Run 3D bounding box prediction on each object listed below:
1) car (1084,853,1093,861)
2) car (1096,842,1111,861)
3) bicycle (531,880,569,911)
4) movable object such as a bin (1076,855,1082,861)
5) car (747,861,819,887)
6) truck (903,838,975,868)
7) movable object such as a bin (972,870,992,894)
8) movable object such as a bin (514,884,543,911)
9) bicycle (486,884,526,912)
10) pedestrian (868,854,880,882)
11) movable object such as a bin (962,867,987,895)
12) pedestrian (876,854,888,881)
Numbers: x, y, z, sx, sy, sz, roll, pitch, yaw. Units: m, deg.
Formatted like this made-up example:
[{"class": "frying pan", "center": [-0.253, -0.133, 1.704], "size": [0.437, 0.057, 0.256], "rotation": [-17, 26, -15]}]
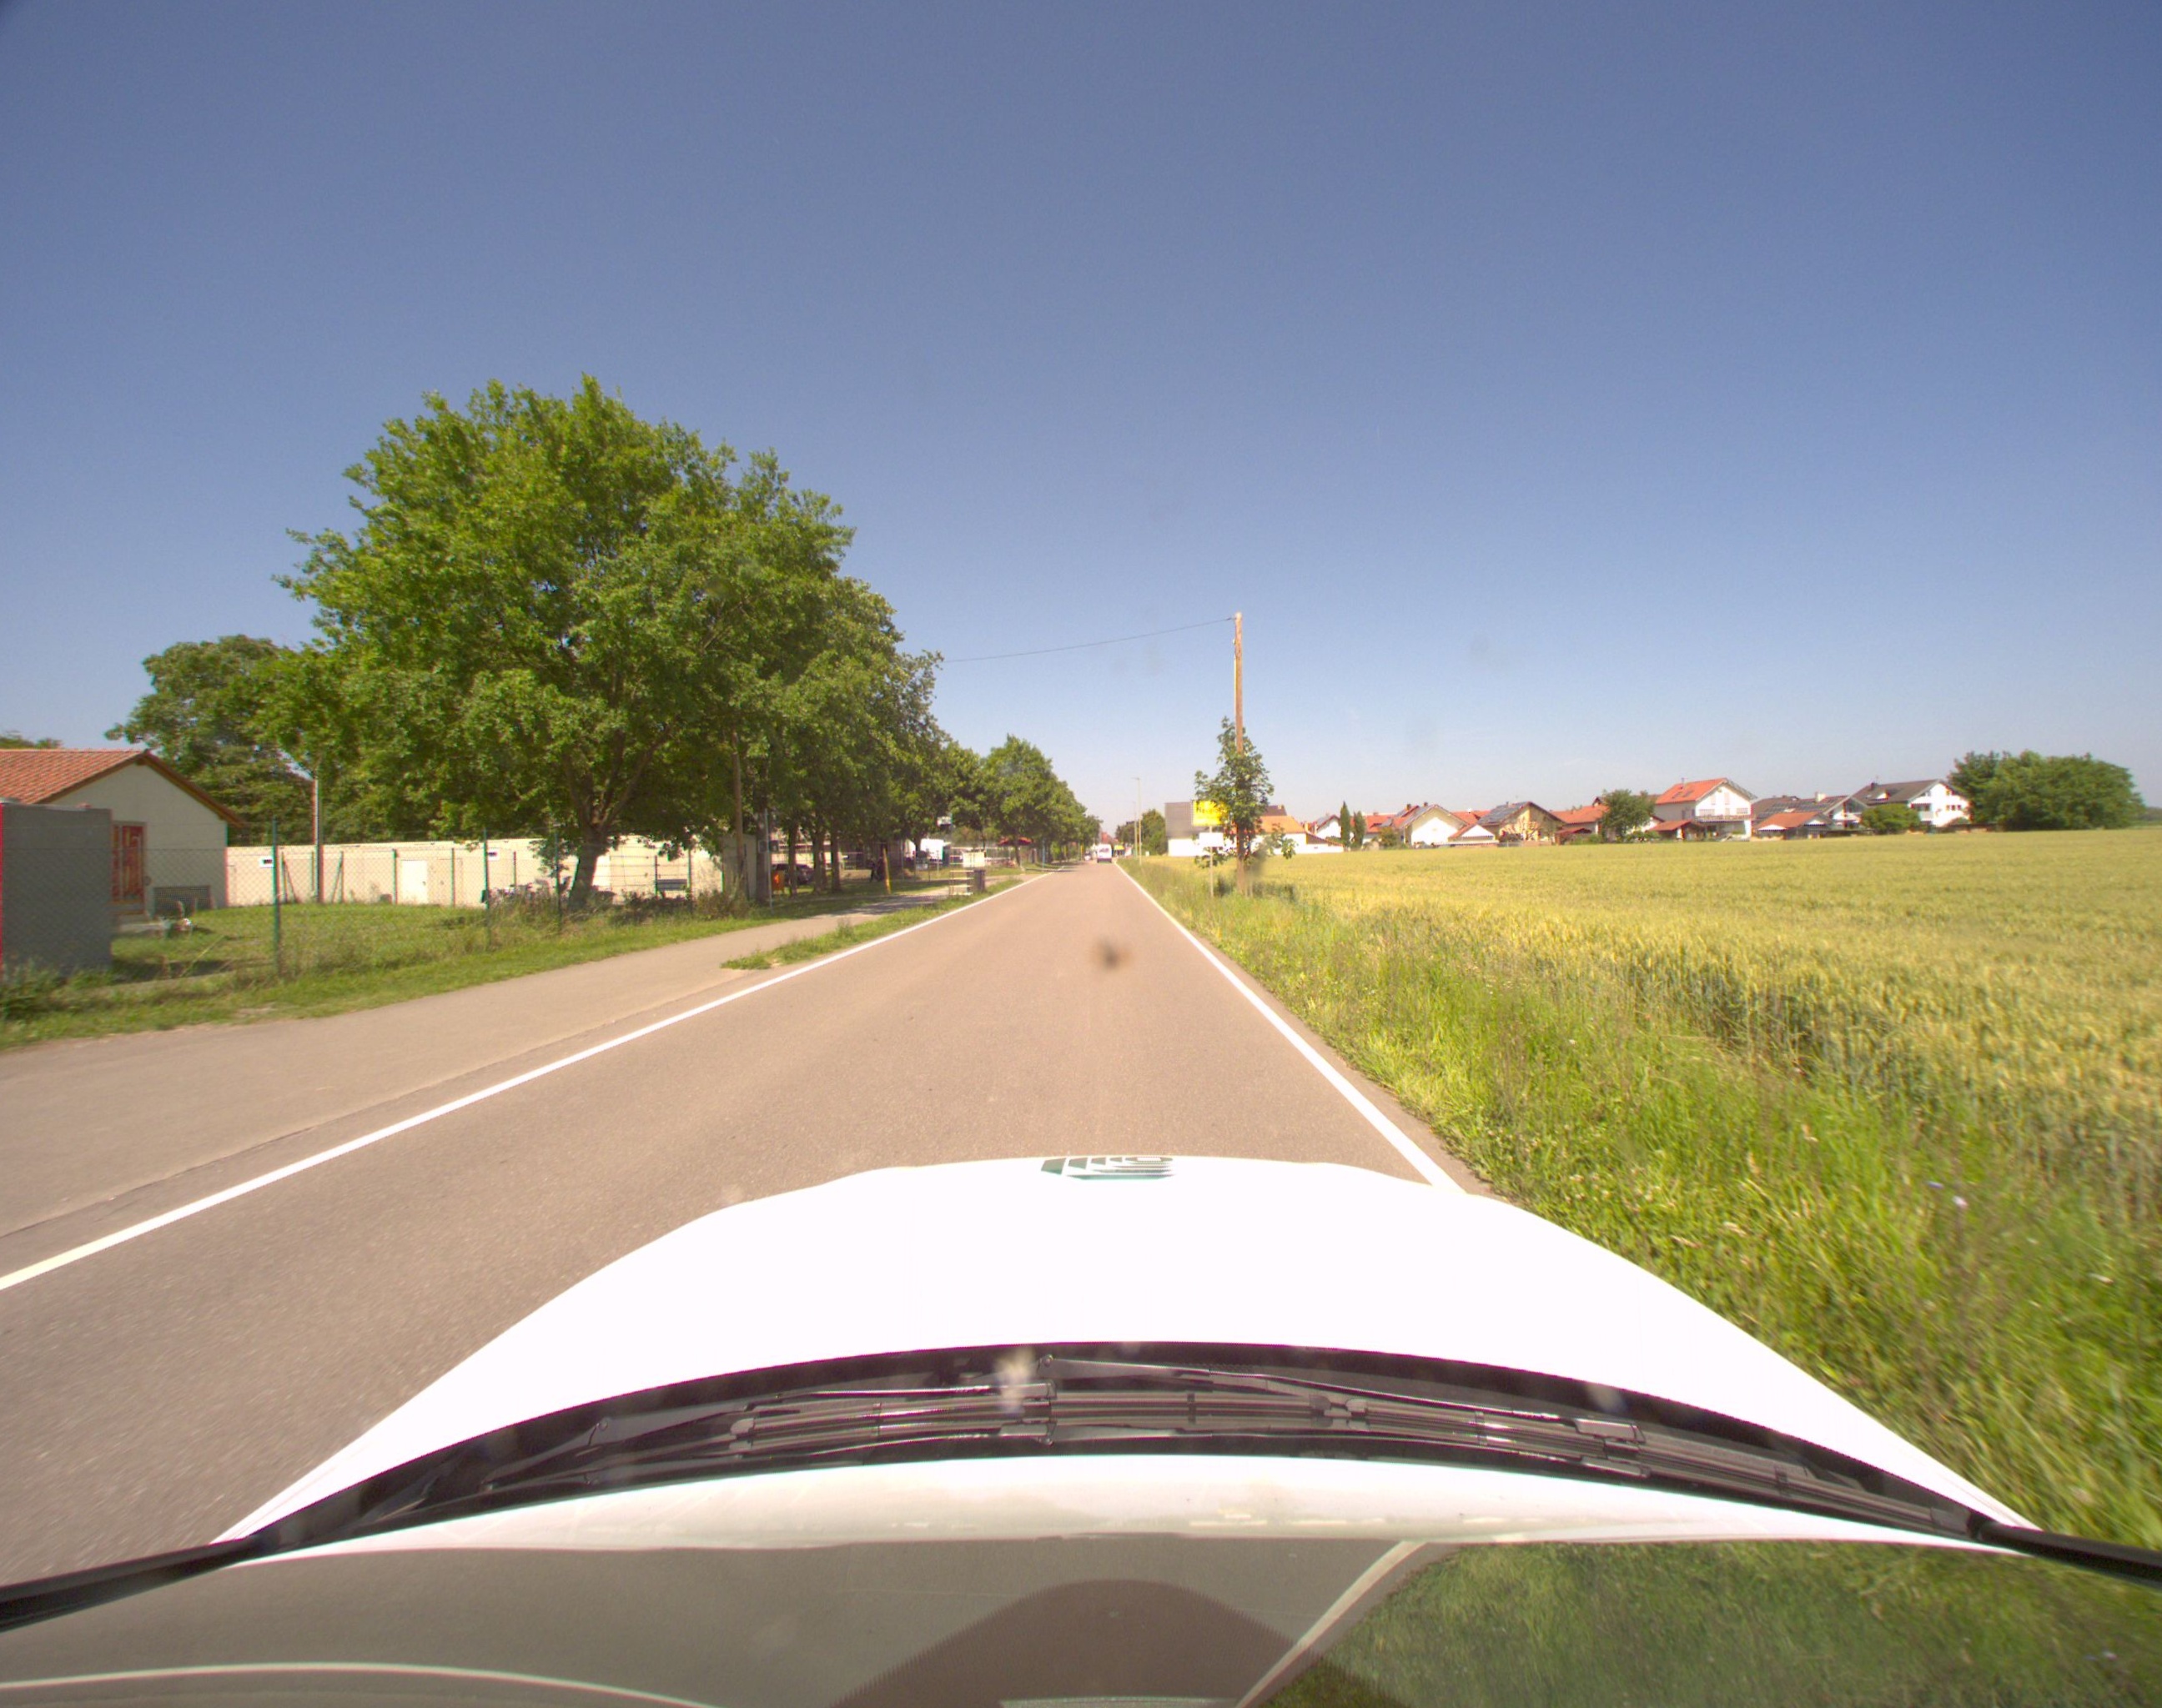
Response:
[{"class": "car", "center": [1.434, 0.495, 156.888], "size": [1.641, 1.423, 4.082], "rotation": [-4, 0, 2]}, {"class": "car", "center": [3.077, -0.301, 111.588], "size": [1.729, 2.432, 4.380], "rotation": [-2, 0, 5]}, {"class": "bicycle", "center": [-21.945, 1.694, 33.674], "size": [1.236, 1.213, 0.423], "rotation": [-2, 0, -2]}, {"class": "movable object such as a bin", "center": [-0.385, 0.813, 151.383], "size": [0.706, 1.079, 0.643], "rotation": [-2, -1, 29]}, {"class": "car", "center": [-18.349, 1.234, 50.274], "size": [3.795, 1.399, 1.755], "rotation": [-2, 0, -6]}, {"class": "truck", "center": [-12.547, -0.105, 72.076], "size": [5.957, 2.483, 1.978], "rotation": [-1, -1, -36]}, {"class": "movable object such as a bin", "center": [-3.816, 1.078, 31.455], "size": [0.559, 0.877, 0.615], "rotation": [-2, 0, 9]}, {"class": "movable object such as a bin", "center": [-22.039, 1.743, 32.504], "size": [0.692, 1.013, 0.663], "rotation": [-2, 0, -3]}, {"class": "bicycle", "center": [-23.641, 1.815, 33.495], "size": [1.236, 1.082, 0.506], "rotation": [-2, 0, -1]}, {"class": "pedestrian", "center": [-13.264, 0.889, 52.156], "size": [0.603, 1.751, 0.585], "rotation": [-2, 0, -8]}, {"class": "movable object such as a bin", "center": [-4.005, 1.005, 30.702], "size": [0.694, 1.024, 0.750], "rotation": [-2, 0, 9]}, {"class": "pedestrian", "center": [-12.934, 0.866, 52.929], "size": [0.603, 1.751, 0.585], "rotation": [-2, 0, -8]}]
